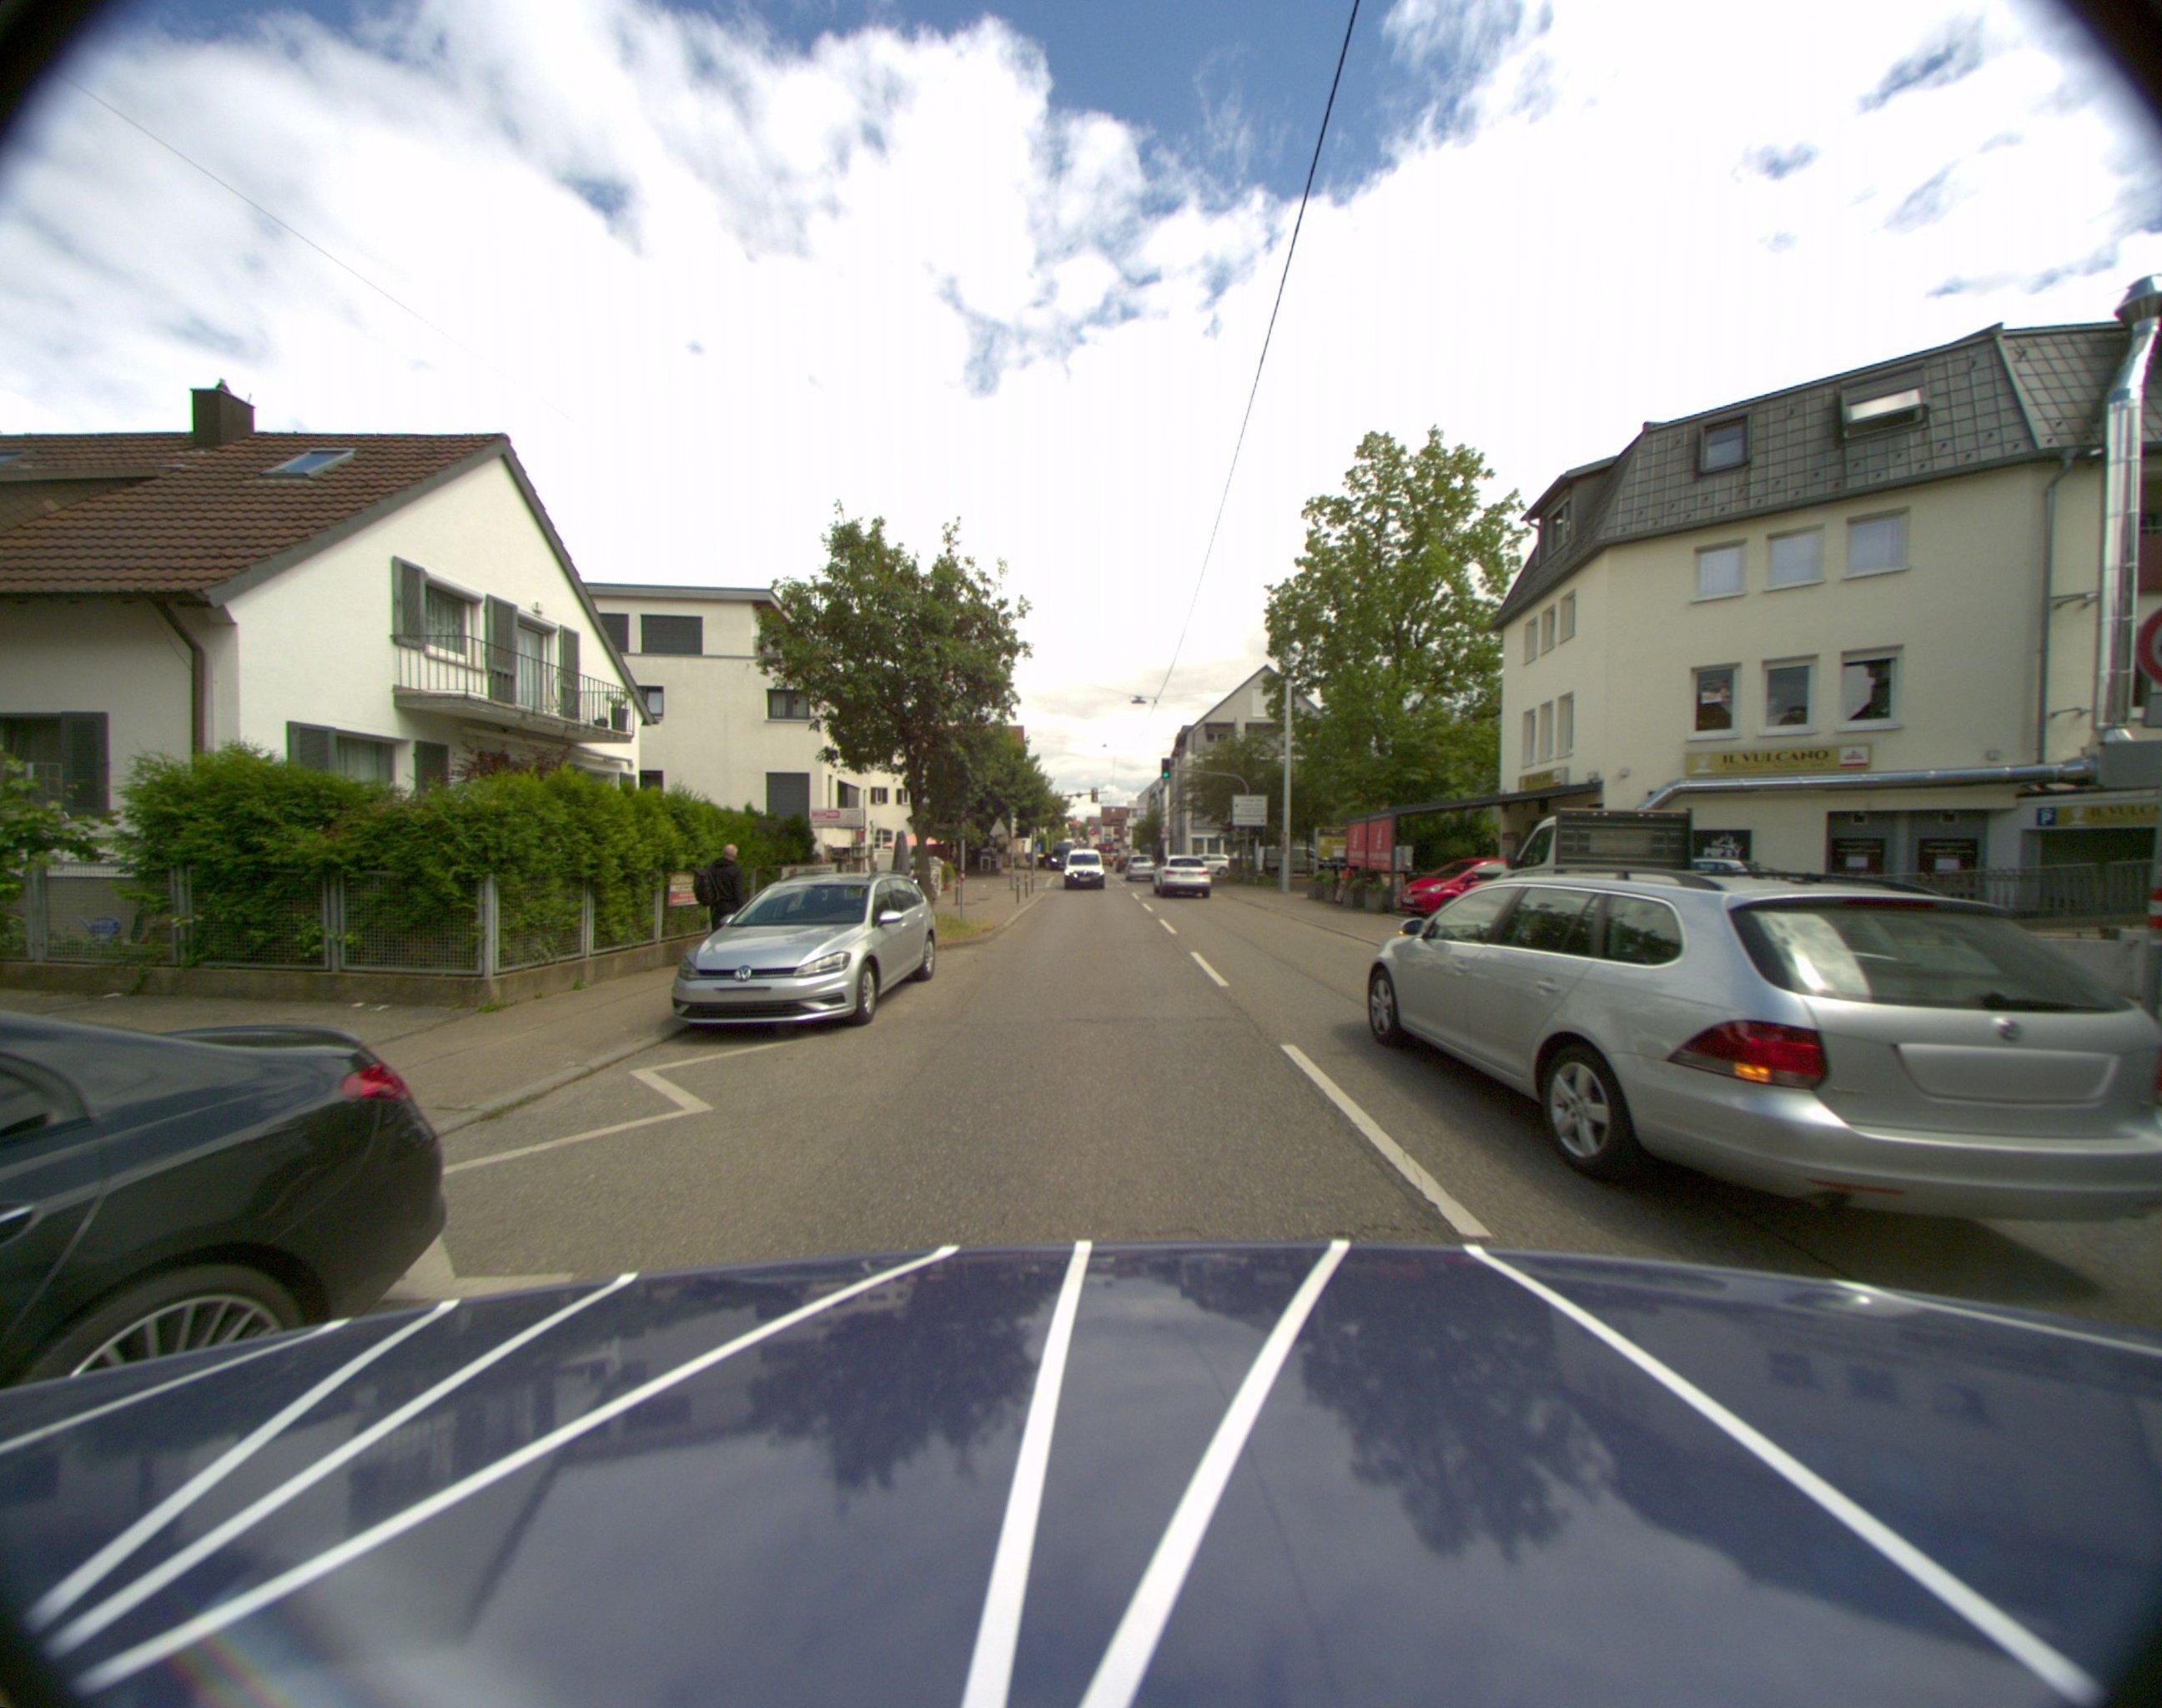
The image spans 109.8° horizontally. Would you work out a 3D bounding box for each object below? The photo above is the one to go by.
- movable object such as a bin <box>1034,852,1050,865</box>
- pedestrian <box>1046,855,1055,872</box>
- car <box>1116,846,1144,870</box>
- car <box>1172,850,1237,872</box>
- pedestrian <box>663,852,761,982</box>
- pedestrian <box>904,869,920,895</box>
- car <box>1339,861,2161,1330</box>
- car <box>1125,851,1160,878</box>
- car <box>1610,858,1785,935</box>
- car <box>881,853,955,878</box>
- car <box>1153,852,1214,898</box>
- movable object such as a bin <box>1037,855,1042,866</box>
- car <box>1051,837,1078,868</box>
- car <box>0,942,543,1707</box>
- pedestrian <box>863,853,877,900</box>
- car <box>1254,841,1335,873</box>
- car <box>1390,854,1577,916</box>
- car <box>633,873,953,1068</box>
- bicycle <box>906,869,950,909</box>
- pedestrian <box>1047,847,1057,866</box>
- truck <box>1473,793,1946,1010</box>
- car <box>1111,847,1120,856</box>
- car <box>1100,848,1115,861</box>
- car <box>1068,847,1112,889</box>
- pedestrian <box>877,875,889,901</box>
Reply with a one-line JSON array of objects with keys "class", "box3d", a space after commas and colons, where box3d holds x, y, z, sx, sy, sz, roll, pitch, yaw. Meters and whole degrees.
[{"class": "movable object such as a bin", "box3d": [-3.784, 0.404, 73.591, 1.188, 1.258, 1.206, -1, 1, -31]}, {"class": "pedestrian", "box3d": [-2.971, 0.955, 73.999, 0.786, 1.633, 0.798, 0, 1, 6]}, {"class": "car", "box3d": [3.955, 0.288, 62.109, 1.882, 1.901, 4.751, -1, 0, -1]}, {"class": "car", "box3d": [8.515, 0.485, 52.684, 4.222, 1.504, 1.822, -1, 0, 1]}, {"class": "pedestrian", "box3d": [-5.034, 0.826, 10.422, 0.882, 1.703, 0.842, 0, 1, 3]}, {"class": "pedestrian", "box3d": [-7.414, 1.226, 33.346, 0.568, 1.082, 0.633, -1, 2, -24]}, {"class": "car", "box3d": [3.236, 0.843, 4.752, 1.732, 1.494, 4.376, 2, 0, 0]}, {"class": "car", "box3d": [3.505, 0.599, 43.879, 1.621, 1.478, 3.812, 0, 0, -1]}, {"class": "car", "box3d": [13.416, 0.853, 16.656, 2.839, 1.462, 1.569, 1, 2, 40]}, {"class": "car", "box3d": [-9.658, 0.667, 44.891, 4.187, 1.407, 1.777, 1, -1, -15]}, {"class": "car", "box3d": [3.833, 0.745, 29.002, 1.810, 1.562, 4.159, 2, 1, 1]}, {"class": "movable object such as a bin", "box3d": [-3.949, 0.616, 72.421, 0.410, 0.933, 0.273, 4, 1, -11]}, {"class": "car", "box3d": [-1.492, -0.167, 70.784, 2.153, 2.754, 6.249, 0, 1, 2]}, {"class": "car", "box3d": [-2.932, 1.073, 0.349, 1.738, 1.420, 4.883, -3, 0, 1]}, {"class": "pedestrian", "box3d": [-7.981, 0.850, 28.705, 0.429, 1.752, 0.674, -1, 2, -20]}, {"class": "car", "box3d": [13.803, 0.187, 49.341, 4.633, 1.997, 2.095, -1, 1, -2]}, {"class": "car", "box3d": [9.876, 0.732, 18.838, 3.703, 1.417, 1.804, -1, 1, -3]}, {"class": "car", "box3d": [-2.820, 1.037, 8.792, 1.705, 1.472, 4.872, -1, 0, 1]}, {"class": "bicycle", "box3d": [-4.895, 1.090, 24.515, 0.722, 1.144, 2.214, 0, 1, 7]}, {"class": "pedestrian", "box3d": [-2.748, 0.260, 72.736, 0.741, 1.772, 0.900, 0, 1, 12]}, {"class": "truck", "box3d": [8.505, 0.471, 11.510, 2.229, 2.366, 6.326, 0, 1, 4]}, {"class": "car", "box3d": [7.831, -0.580, 170.350, 1.701, 1.766, 4.462, 0, 1, 6]}, {"class": "car", "box3d": [3.220, 0.077, 93.322, 1.732, 1.529, 4.000, 0, 0, 0]}, {"class": "car", "box3d": [0.395, 0.587, 35.506, 1.871, 1.805, 5.006, 0, 1, 0]}, {"class": "pedestrian", "box3d": [-7.558, 1.295, 28.993, 0.420, 0.933, 0.497, -1, 2, -20]}]
